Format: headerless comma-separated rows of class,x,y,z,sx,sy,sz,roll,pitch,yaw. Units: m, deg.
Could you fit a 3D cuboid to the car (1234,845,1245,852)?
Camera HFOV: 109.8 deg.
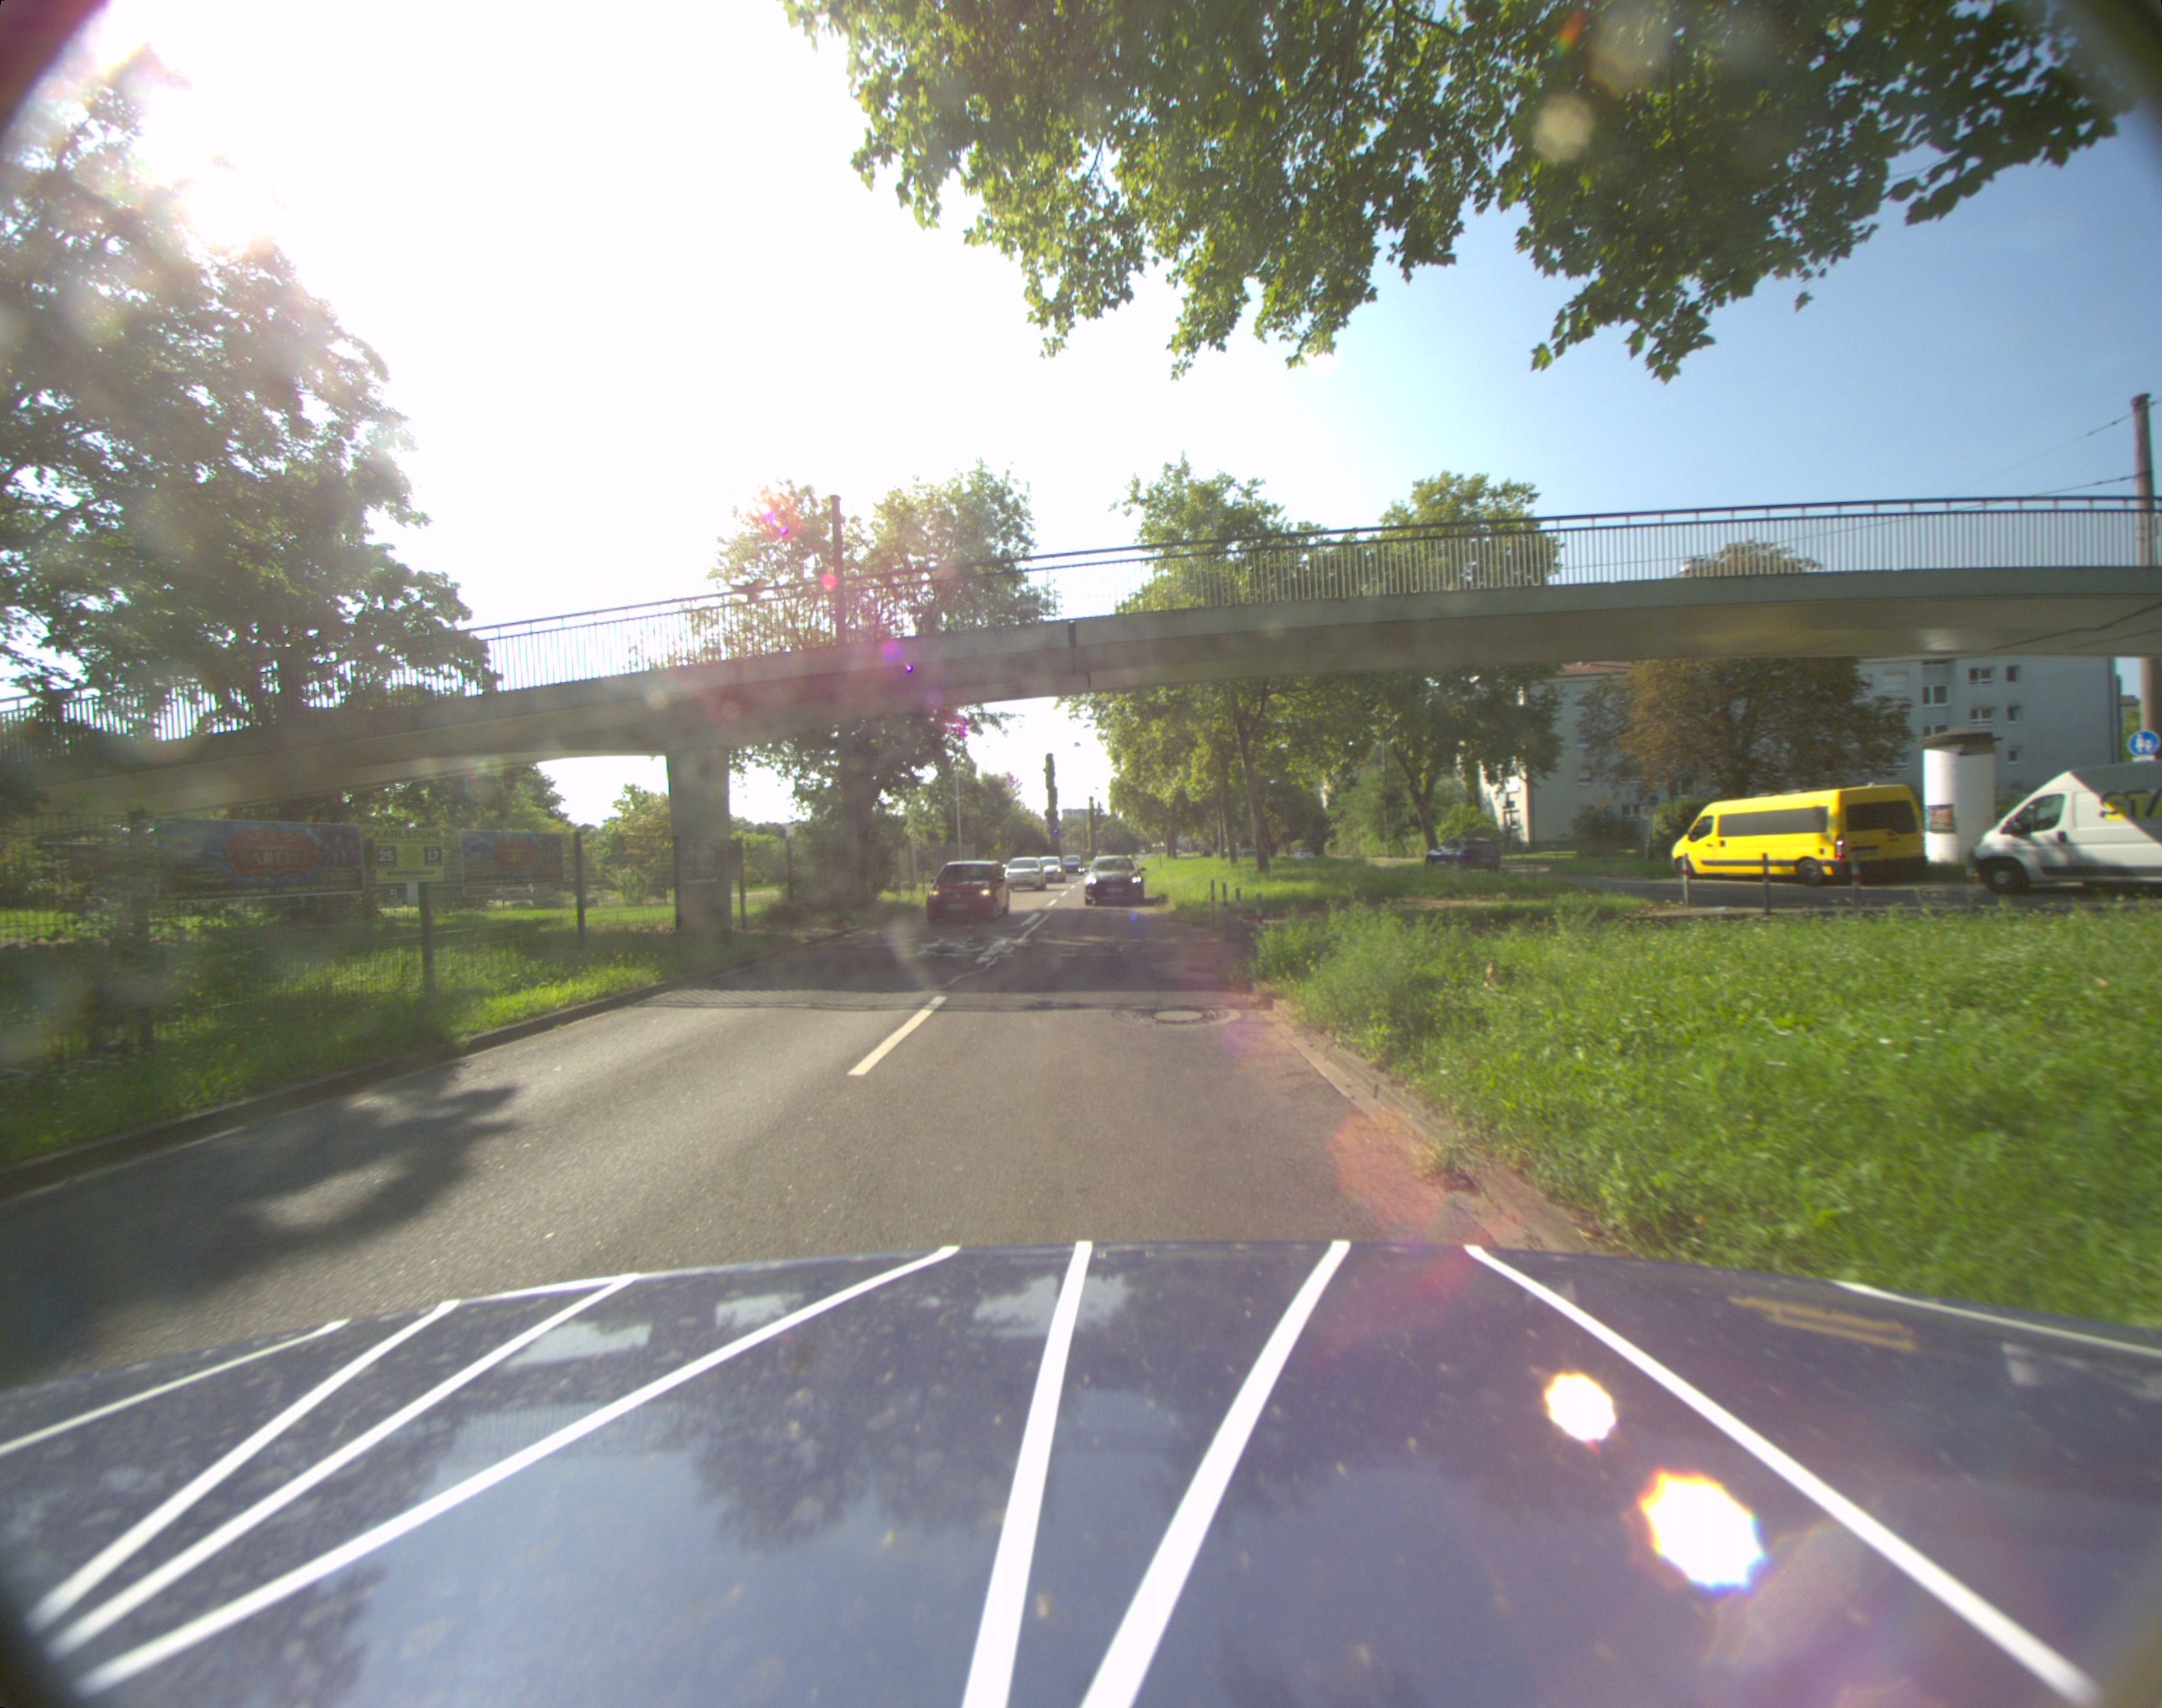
car,30.758,-1.036,147.397,1.612,1.398,3.524,-2,0,7

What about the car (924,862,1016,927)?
car,-2.714,0.949,19.270,1.578,1.390,3.472,-1,1,4

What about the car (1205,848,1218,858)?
car,23.473,-0.250,136.367,1.779,1.607,4.857,-3,1,4

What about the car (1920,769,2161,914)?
car,19.378,-0.292,13.383,2.213,2.416,6.265,-5,1,1

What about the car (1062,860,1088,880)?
car,-0.451,1.209,59.989,1.649,1.378,3.899,-3,1,4

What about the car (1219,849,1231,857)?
car,26.168,-0.158,138.011,1.649,1.356,3.899,-3,0,3

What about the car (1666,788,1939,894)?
car,19.839,-0.349,21.475,2.212,2.465,6.061,-3,1,4

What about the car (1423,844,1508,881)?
car,17.537,0.337,34.914,1.791,1.524,4.456,-3,1,3

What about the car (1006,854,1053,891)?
car,-2.348,0.821,35.266,1.649,1.467,3.899,-3,1,3

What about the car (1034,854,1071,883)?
car,-1.586,0.780,43.888,1.649,1.467,3.899,-3,1,4

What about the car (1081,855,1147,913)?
car,1.102,0.893,24.150,1.862,1.572,3.613,-3,1,4

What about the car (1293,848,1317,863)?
car,23.982,0.140,81.495,1.649,1.471,3.899,-3,1,4

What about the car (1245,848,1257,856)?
car,29.121,-0.408,130.231,1.612,1.284,3.524,-3,1,7
